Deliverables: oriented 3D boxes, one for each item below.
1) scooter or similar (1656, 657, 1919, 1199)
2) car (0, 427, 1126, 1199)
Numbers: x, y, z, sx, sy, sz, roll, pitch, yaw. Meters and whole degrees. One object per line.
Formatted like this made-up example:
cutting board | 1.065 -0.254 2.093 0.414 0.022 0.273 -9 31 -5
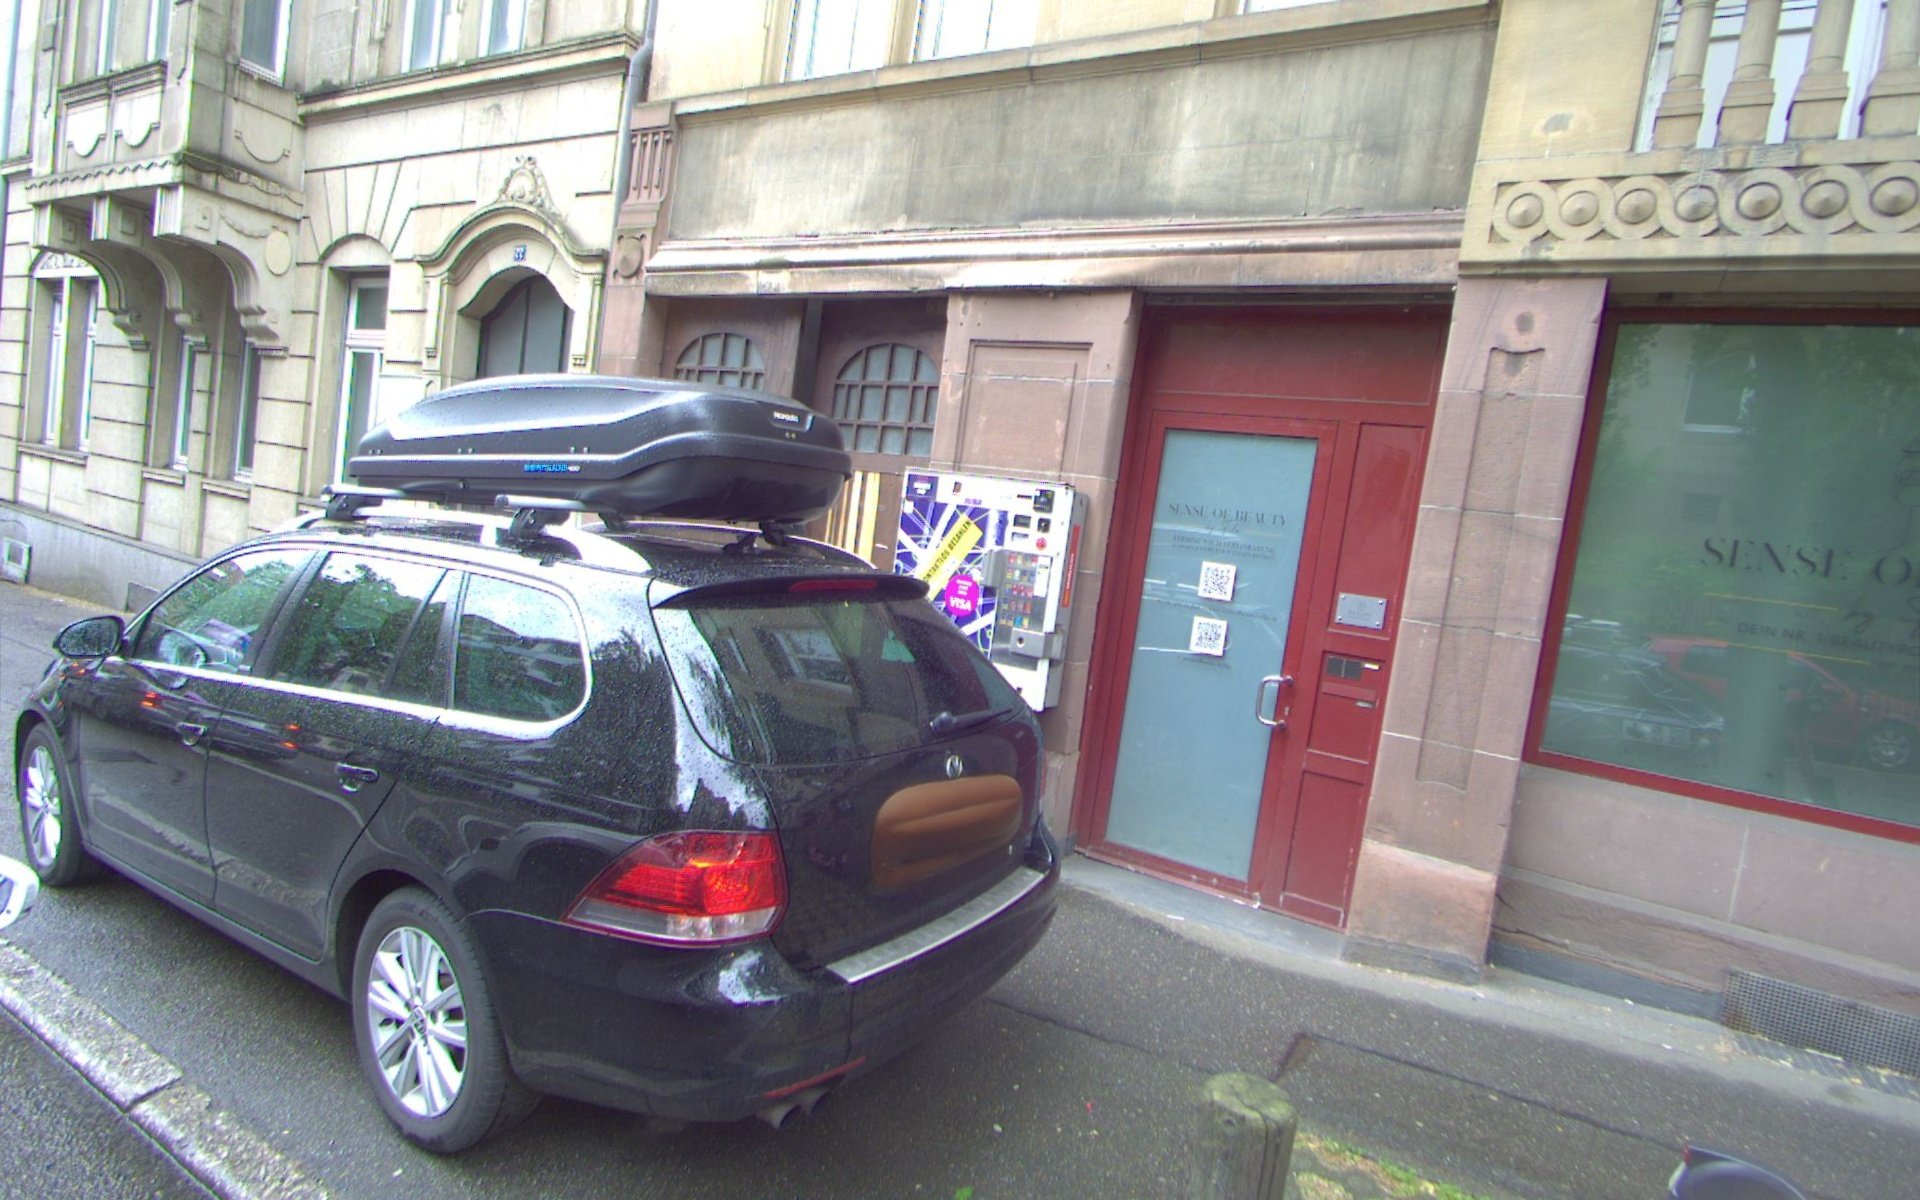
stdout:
scooter or similar | 2.157 0.854 1.920 1.183 1.336 0.593 7 3 32
car | -1.696 0.364 3.543 4.031 1.675 1.757 7 6 32
